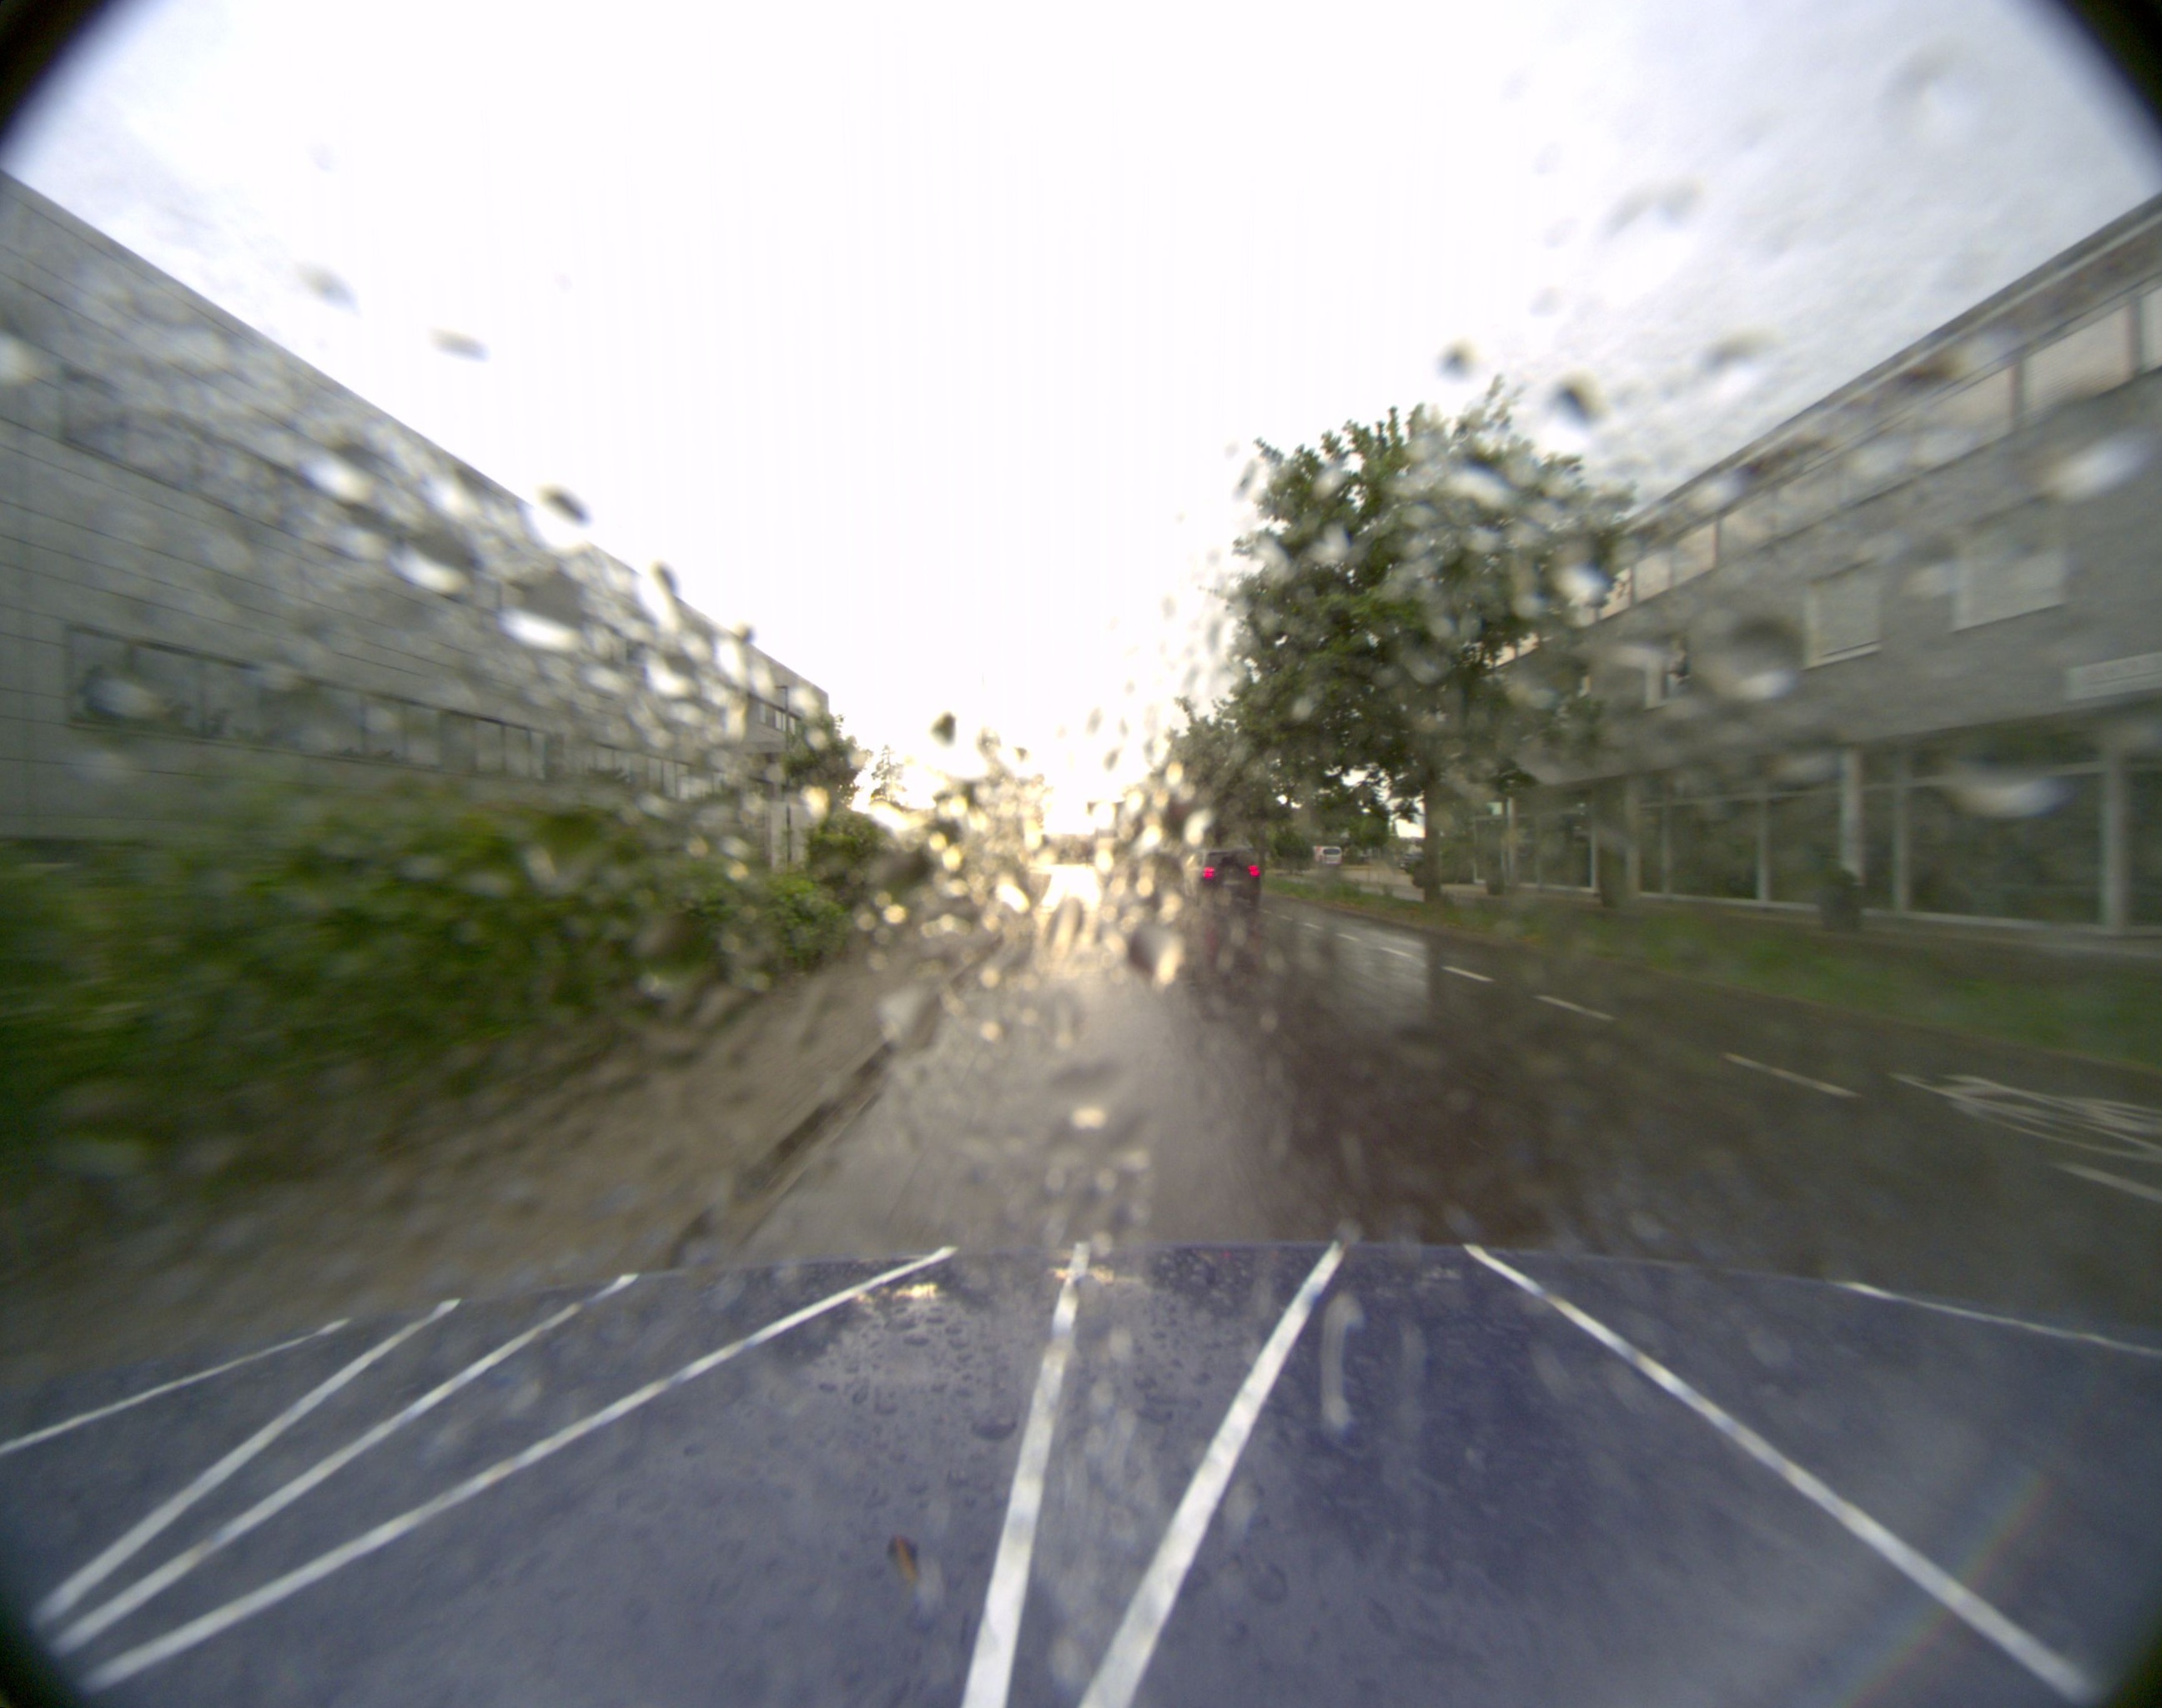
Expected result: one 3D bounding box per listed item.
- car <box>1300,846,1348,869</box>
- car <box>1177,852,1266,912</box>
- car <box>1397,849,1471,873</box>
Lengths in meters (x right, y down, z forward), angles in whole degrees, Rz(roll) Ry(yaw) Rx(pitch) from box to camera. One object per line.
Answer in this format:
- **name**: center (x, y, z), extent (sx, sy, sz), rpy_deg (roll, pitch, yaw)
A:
- **car**: center (20.483, 0.306, 64.324), extent (2.039, 1.811, 5.608), rpy_deg (-2, -1, -3)
- **car**: center (4.081, 0.782, 22.768), extent (1.855, 1.545, 4.502), rpy_deg (-2, -1, 1)
- **car**: center (24.461, 0.462, 52.773), extent (4.163, 1.547, 2.121), rpy_deg (-2, 1, 2)
